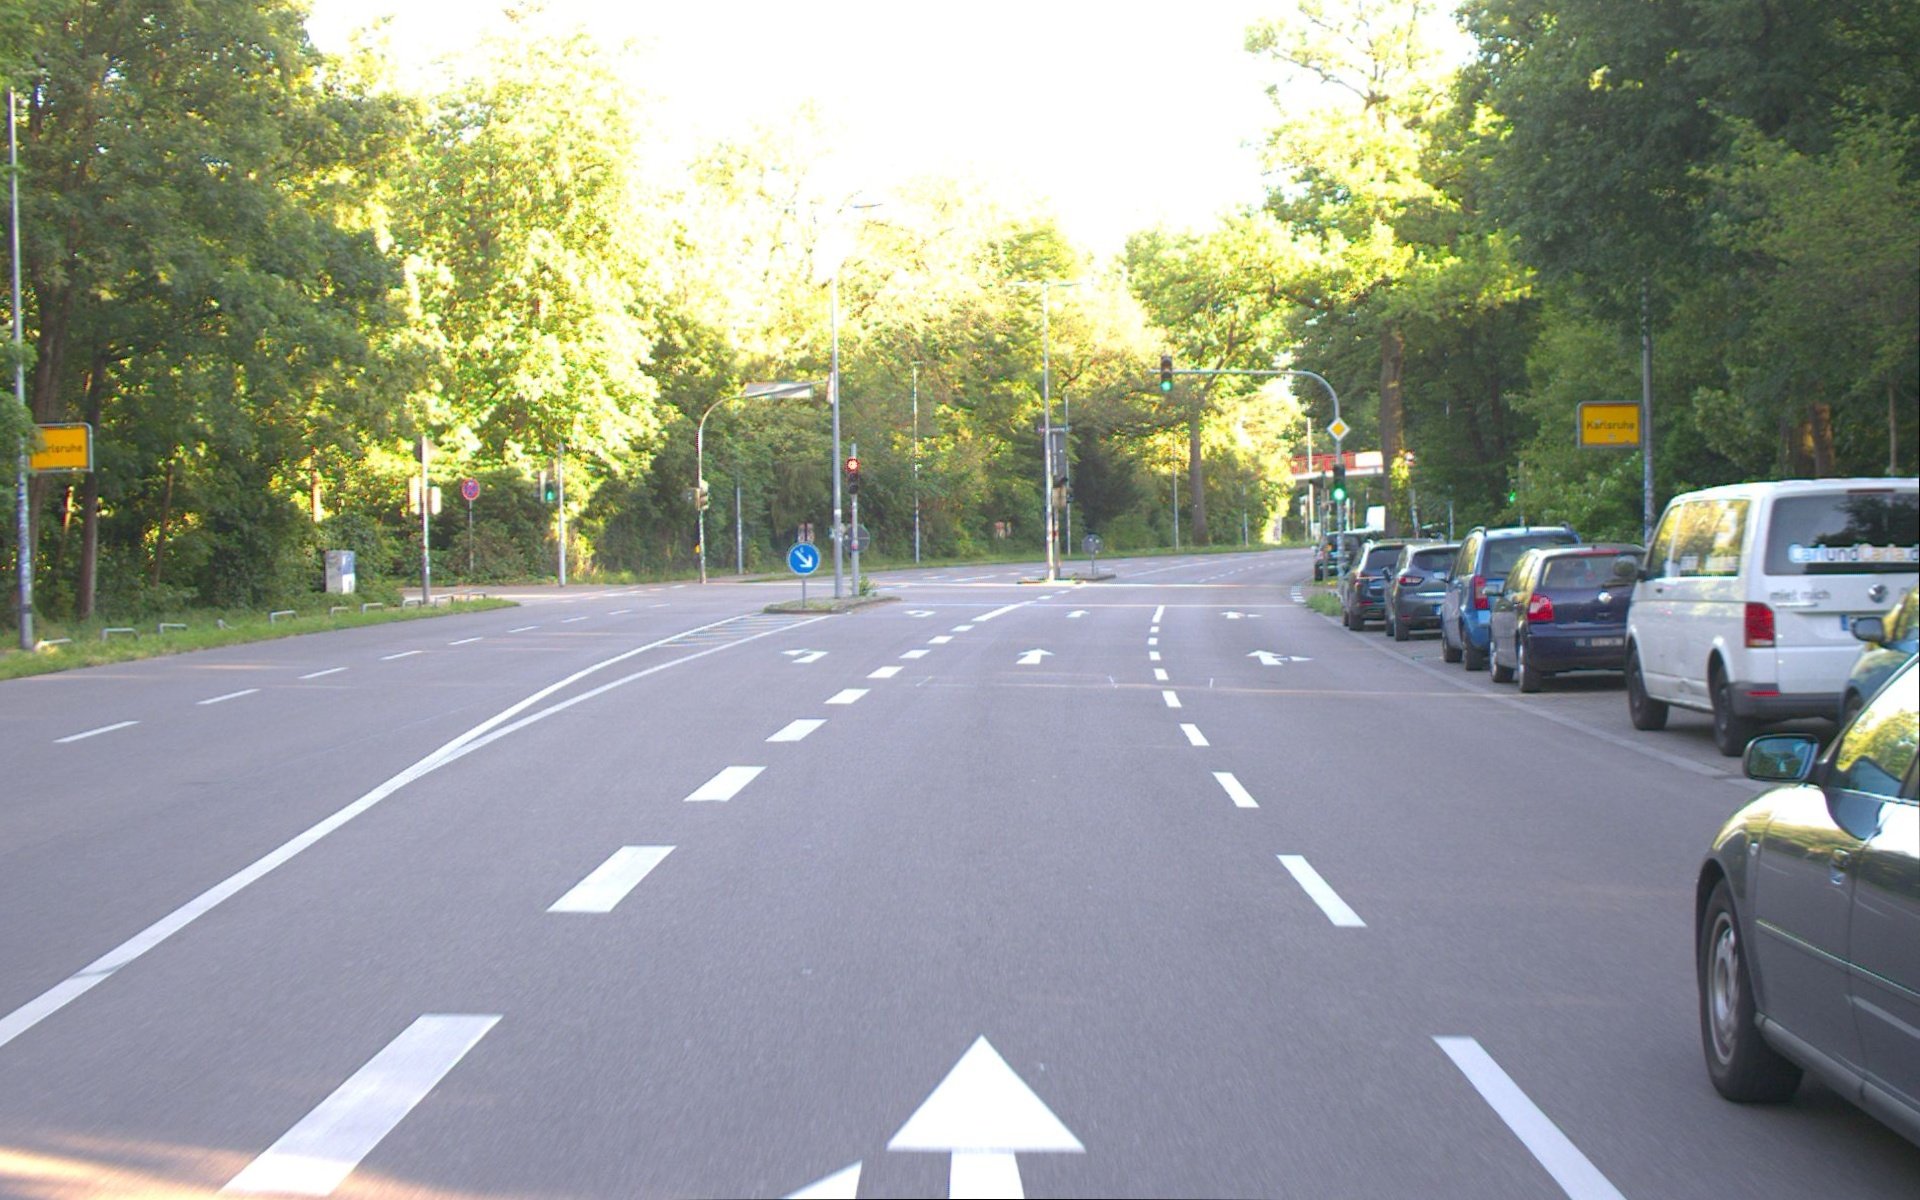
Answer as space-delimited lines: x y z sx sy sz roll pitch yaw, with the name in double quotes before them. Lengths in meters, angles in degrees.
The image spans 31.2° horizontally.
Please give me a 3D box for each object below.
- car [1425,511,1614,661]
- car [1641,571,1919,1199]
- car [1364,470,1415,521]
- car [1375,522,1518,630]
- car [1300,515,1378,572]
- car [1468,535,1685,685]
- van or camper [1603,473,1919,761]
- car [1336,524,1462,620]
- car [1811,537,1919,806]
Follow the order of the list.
"car" 6.659 -0.205 41.268 1.728 1.698 4.090 -1 1 2
"car" 2.866 0.685 8.066 1.727 1.436 4.090 0 1 0
"car" 19.913 -4.832 159.392 2.308 2.327 4.558 0 1 7
"car" 7.302 -0.389 51.900 1.728 1.485 4.090 -2 1 3
"car" 11.508 -1.731 104.557 1.993 1.612 4.000 -2 1 2
"car" 6.348 0.060 35.791 1.650 1.436 4.113 -1 1 2
"van or camper" 6.279 0.053 26.108 1.832 1.963 5.342 0 1 1
"car" 7.289 -0.496 57.403 1.728 1.456 4.167 -2 1 3
"car" 6.294 0.398 20.108 1.647 1.517 3.867 -1 1 0
